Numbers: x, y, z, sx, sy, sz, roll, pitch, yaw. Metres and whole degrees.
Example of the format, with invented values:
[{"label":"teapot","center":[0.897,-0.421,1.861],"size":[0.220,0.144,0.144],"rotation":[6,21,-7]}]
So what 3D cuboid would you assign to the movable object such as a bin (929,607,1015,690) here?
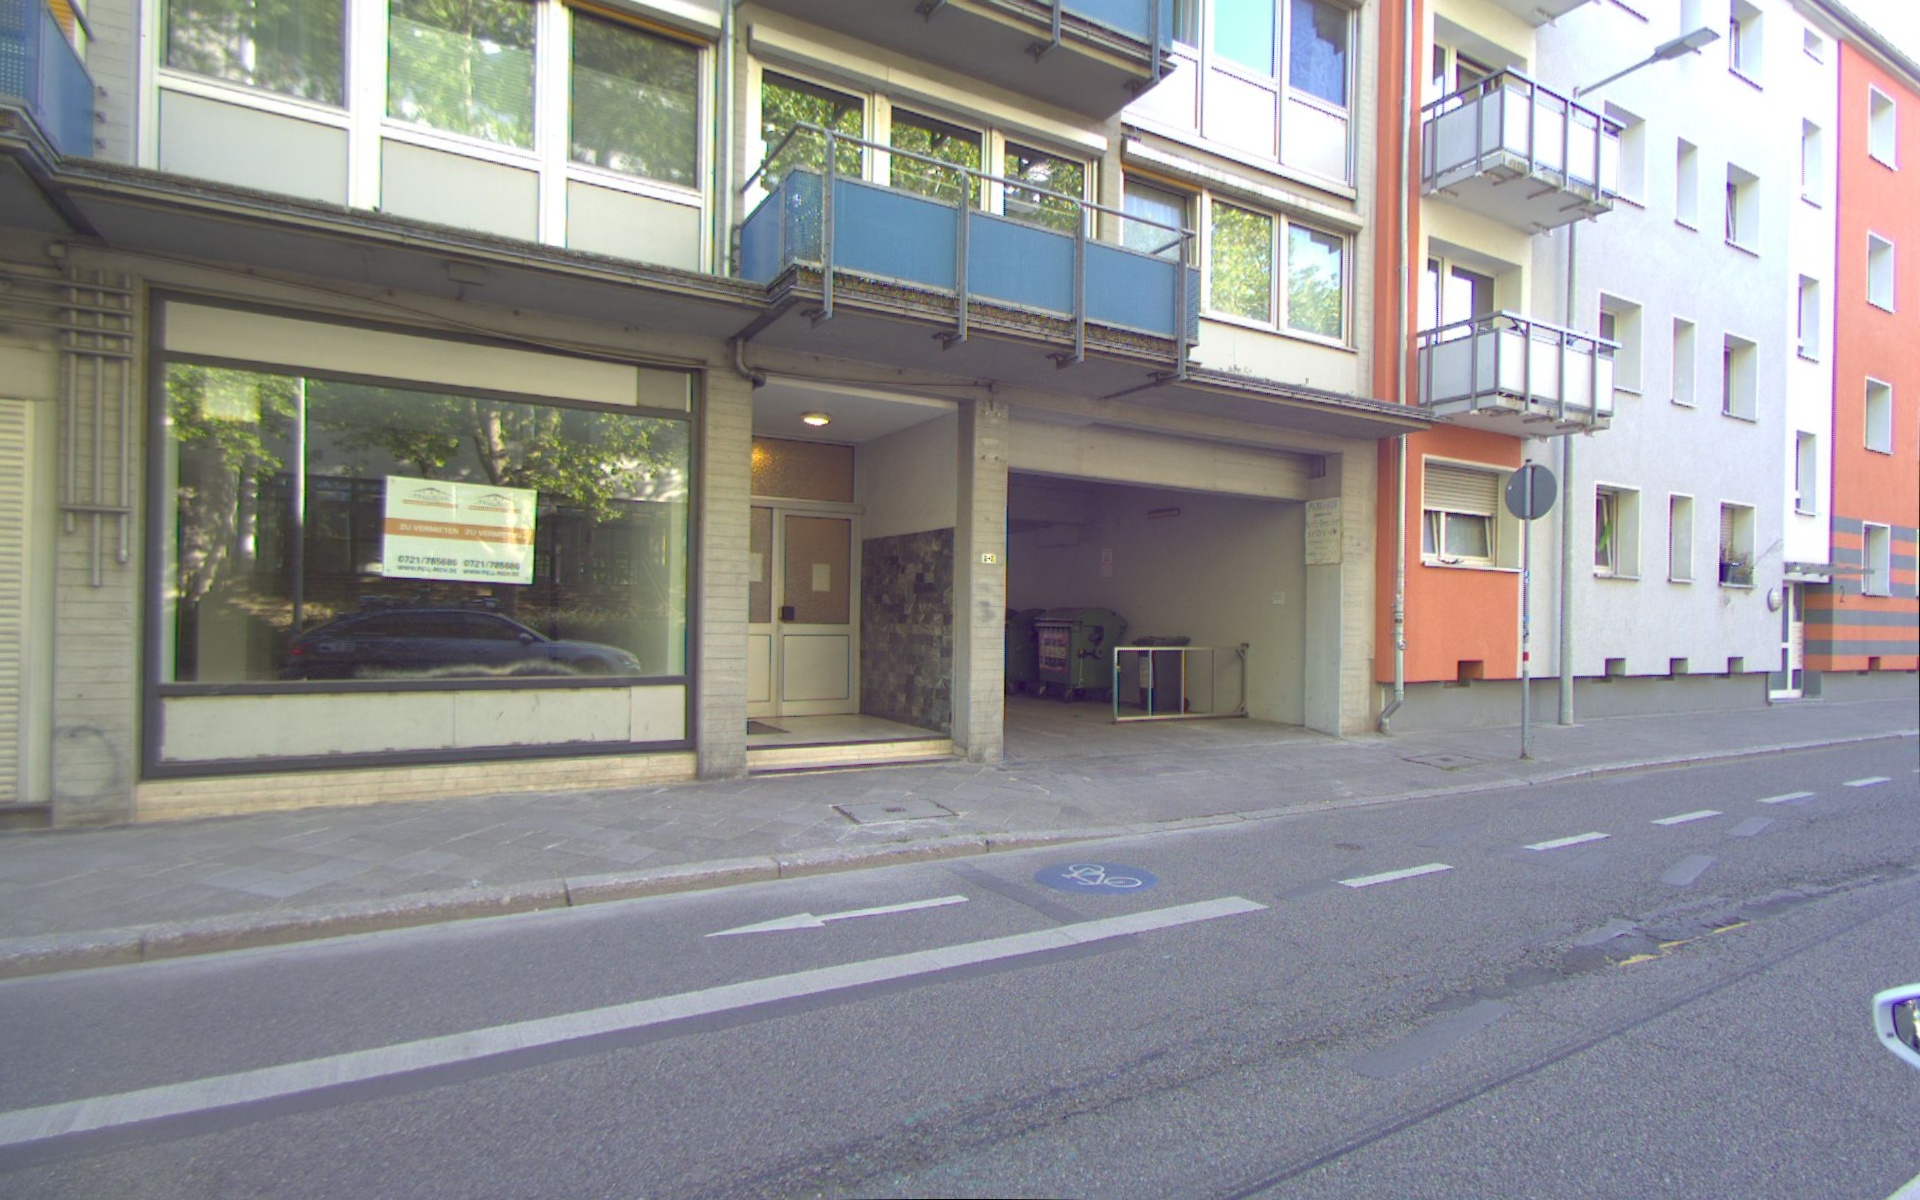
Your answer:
[{"label":"movable object such as a bin","center":[0.203,0.867,18.470],"size":[1.116,1.444,1.201],"rotation":[1,0,-30]}]

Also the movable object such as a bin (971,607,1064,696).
[{"label":"movable object such as a bin","center":[0.974,0.861,17.172],"size":[1.116,1.444,1.201],"rotation":[1,0,-30]}]

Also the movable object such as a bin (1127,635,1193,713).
[{"label":"movable object such as a bin","center":[2.883,1.050,14.503],"size":[0.667,1.079,0.639],"rotation":[1,0,-30]}]

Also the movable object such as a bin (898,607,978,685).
[{"label":"movable object such as a bin","center":[-0.444,0.874,19.619],"size":[1.116,1.444,1.201],"rotation":[1,0,-30]}]

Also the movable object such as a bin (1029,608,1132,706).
[{"label":"movable object such as a bin","center":[1.885,0.867,15.813],"size":[1.116,1.444,1.201],"rotation":[1,0,-30]}]
